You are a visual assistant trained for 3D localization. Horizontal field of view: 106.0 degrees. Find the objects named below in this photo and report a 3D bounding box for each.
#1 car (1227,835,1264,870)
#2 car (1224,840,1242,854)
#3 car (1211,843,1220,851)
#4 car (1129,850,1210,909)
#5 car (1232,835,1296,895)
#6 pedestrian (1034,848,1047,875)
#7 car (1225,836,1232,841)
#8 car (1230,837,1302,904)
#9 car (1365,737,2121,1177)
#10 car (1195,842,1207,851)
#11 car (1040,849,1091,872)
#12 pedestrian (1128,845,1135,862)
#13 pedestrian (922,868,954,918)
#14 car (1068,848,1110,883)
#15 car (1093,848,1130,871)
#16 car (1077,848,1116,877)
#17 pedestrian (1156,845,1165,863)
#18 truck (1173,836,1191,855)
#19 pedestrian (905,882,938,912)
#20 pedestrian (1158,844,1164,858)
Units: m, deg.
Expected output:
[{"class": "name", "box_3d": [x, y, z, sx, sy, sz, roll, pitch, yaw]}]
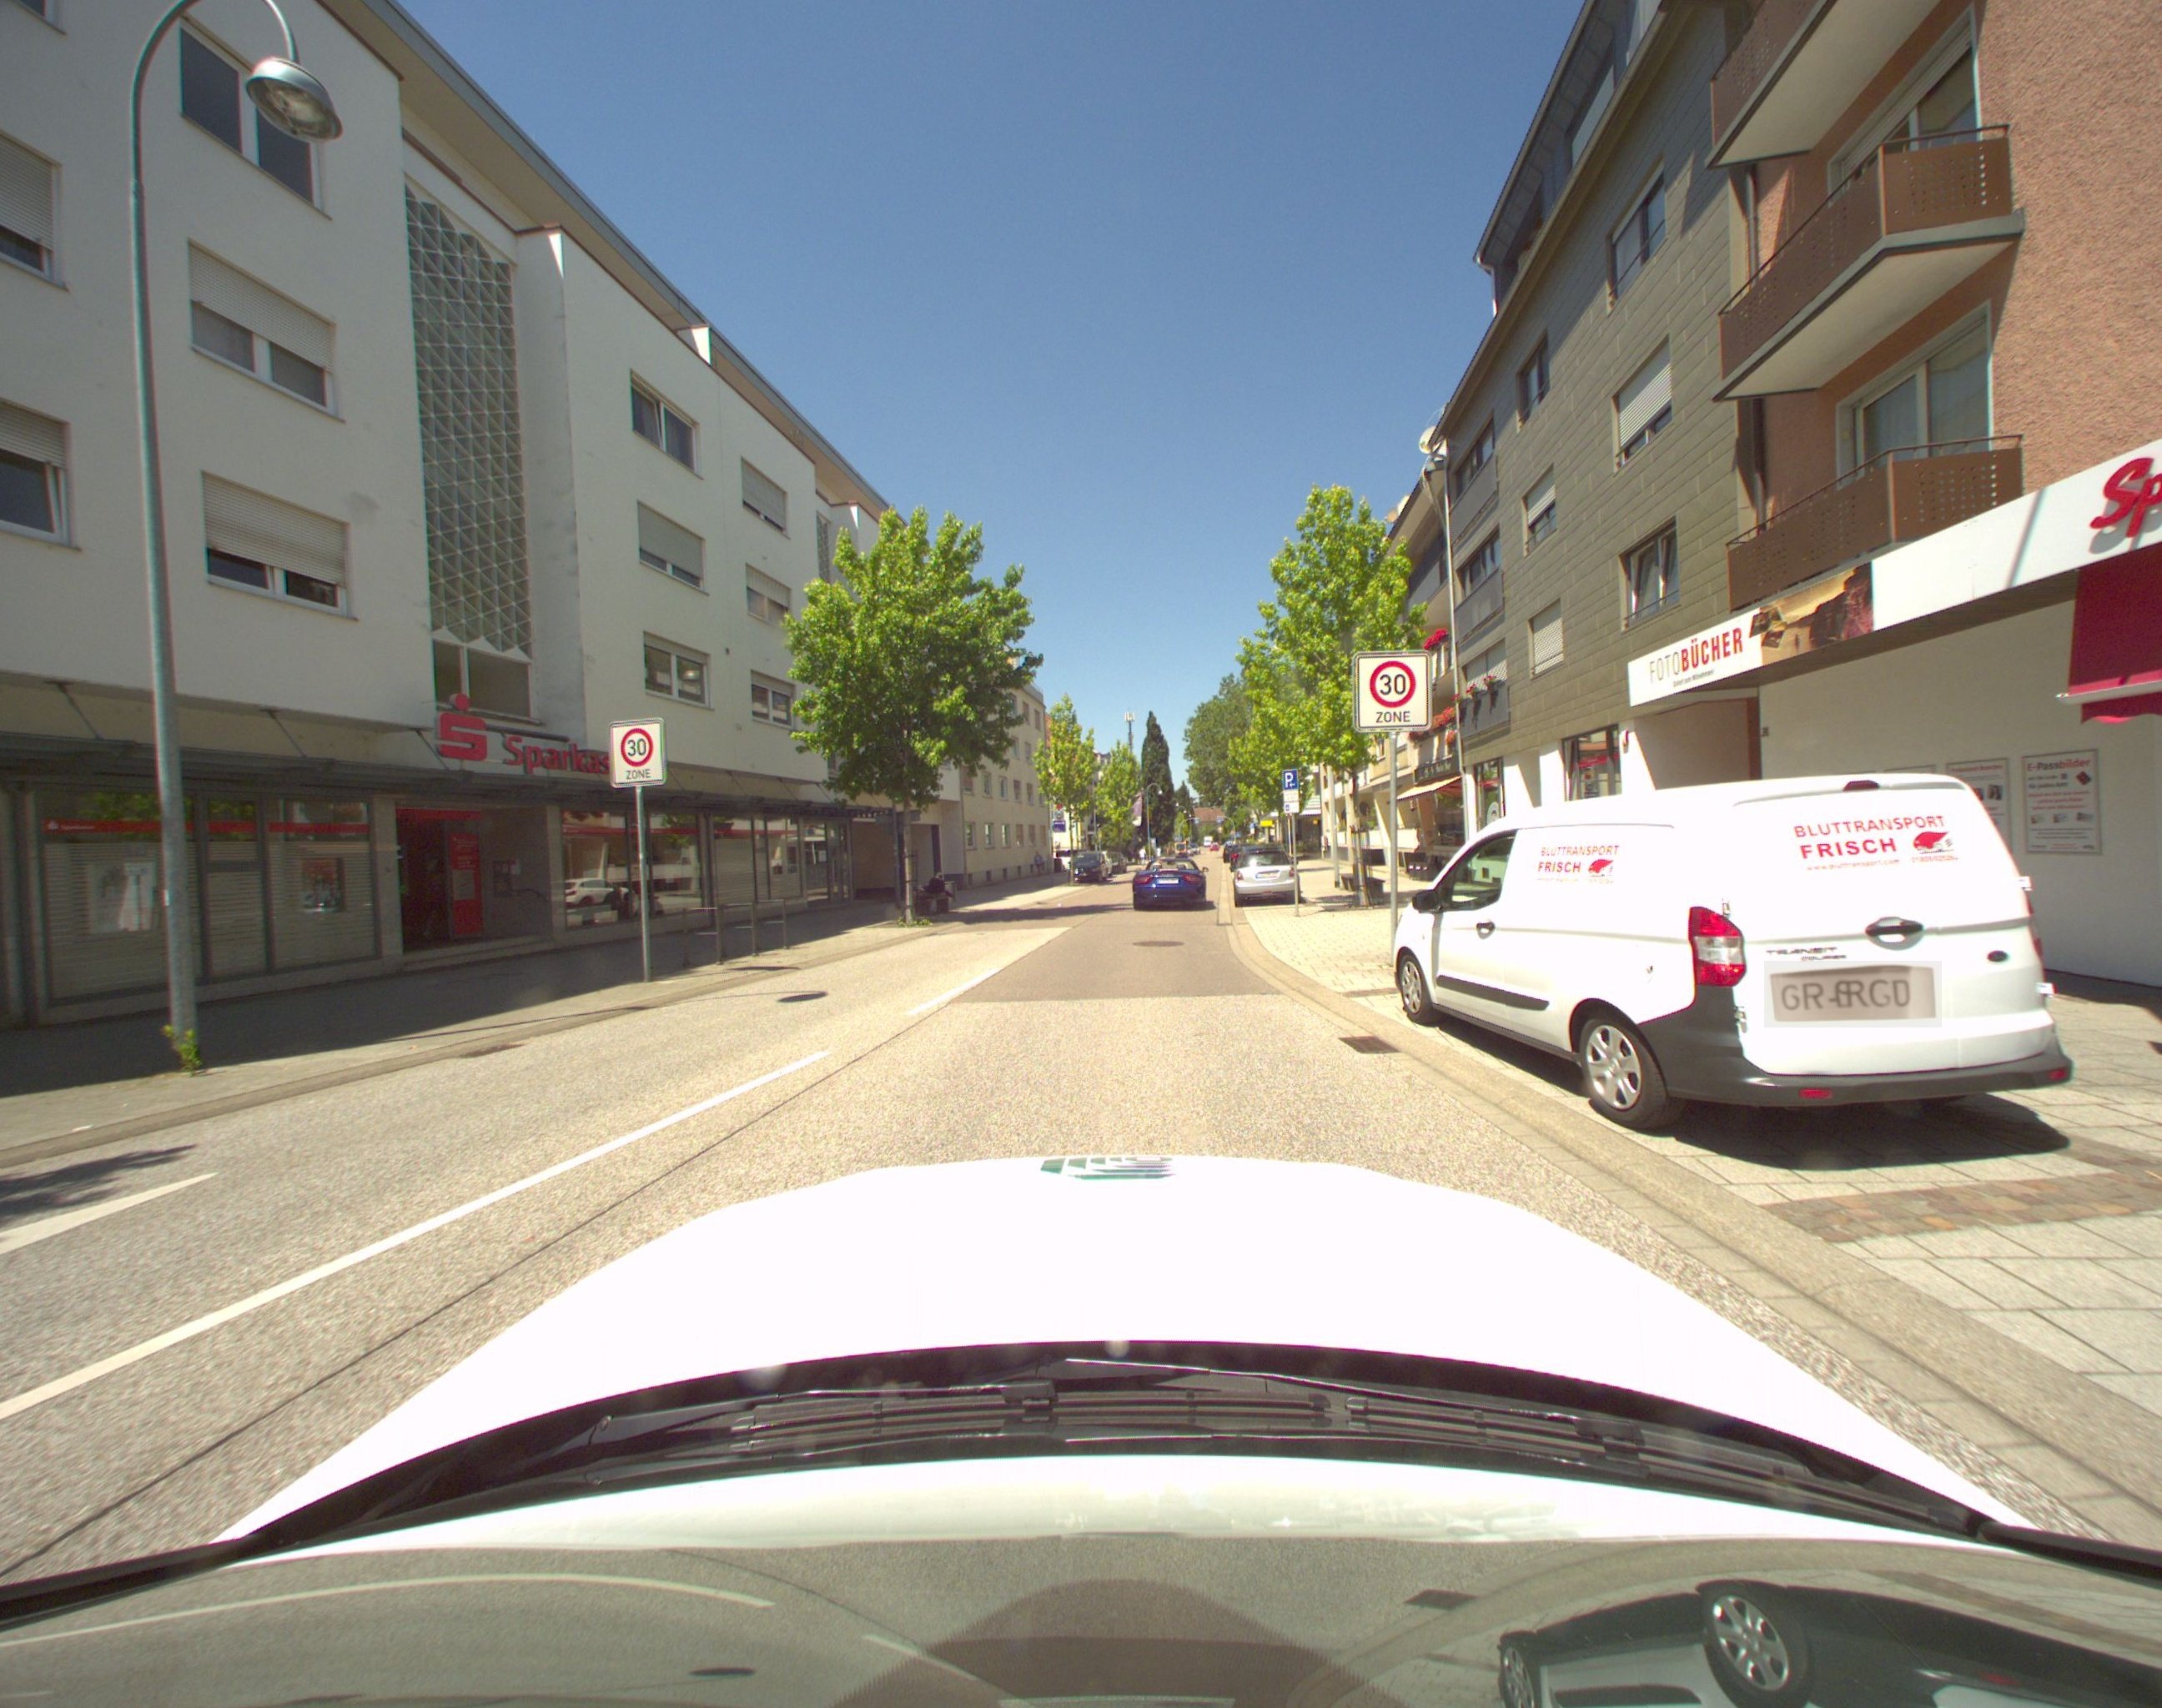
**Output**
[{"class": "car", "box_3d": [10.177, -0.136, 50.331, 1.980, 1.798, 4.585, -4, 2, 12]}, {"class": "car", "box_3d": [17.945, -0.859, 96.381, 1.964, 1.450, 4.362, -5, 1, 10]}, {"class": "car", "box_3d": [26.318, -1.333, 159.323, 1.759, 1.476, 4.148, -3, 0, 9]}, {"class": "car", "box_3d": [2.426, 0.619, 22.368, 1.966, 1.398, 4.636, 0, 1, 6]}, {"class": "car", "box_3d": [5.963, 0.305, 26.978, 1.753, 1.705, 4.719, -4, 0, 10]}, {"class": "pedestrian", "box_3d": [-2.637, 0.474, 52.980, 0.655, 1.680, 0.630, -5, 2, -8]}, {"class": "car", "box_3d": [45.253, -4.733, 249.241, 1.938, 1.476, 4.151, -4, 0, 11]}, {"class": "car", "box_3d": [4.947, 0.383, 22.160, 1.612, 1.559, 3.851, -4, 0, 10]}, {"class": "car", "box_3d": [3.507, 0.424, 5.419, 1.742, 1.724, 3.909, -5, 0, 0]}, {"class": "car", "box_3d": [20.422, -1.297, 138.321, 1.759, 1.476, 4.149, -4, 0, 9]}, {"class": "car", "box_3d": [-1.303, 0.559, 69.977, 4.036, 1.823, 1.764, -1, 1, 8]}, {"class": "pedestrian", "box_3d": [4.719, -0.054, 76.030, 0.576, 1.474, 0.565, -3, 0, 6]}, {"class": "pedestrian", "box_3d": [-4.117, 1.127, 23.509, 0.563, 1.372, 0.670, -4, -1, 19]}, {"class": "car", "box_3d": [0.486, 0.591, 44.586, 1.719, 1.740, 4.403, 0, 1, 8]}, {"class": "car", "box_3d": [2.149, 0.355, 56.364, 1.742, 1.474, 4.336, -1, 1, 12]}, {"class": "car", "box_3d": [1.026, 0.489, 50.245, 1.813, 1.619, 4.403, -2, 1, 8]}, {"class": "pedestrian", "box_3d": [9.215, 0.003, 94.692, 0.844, 1.915, 0.763, -4, 2, 9]}, {"class": "truck", "box_3d": [12.443, -1.069, 100.586, 1.793, 2.117, 4.729, -4, 1, 10]}, {"class": "pedestrian", "box_3d": [-4.783, 1.298, 24.468, 0.659, 0.858, 0.736, -4, -4, 19]}, {"class": "pedestrian", "box_3d": [9.343, -0.393, 94.716, 0.583, 1.574, 0.783, -3, 0, 9]}]
